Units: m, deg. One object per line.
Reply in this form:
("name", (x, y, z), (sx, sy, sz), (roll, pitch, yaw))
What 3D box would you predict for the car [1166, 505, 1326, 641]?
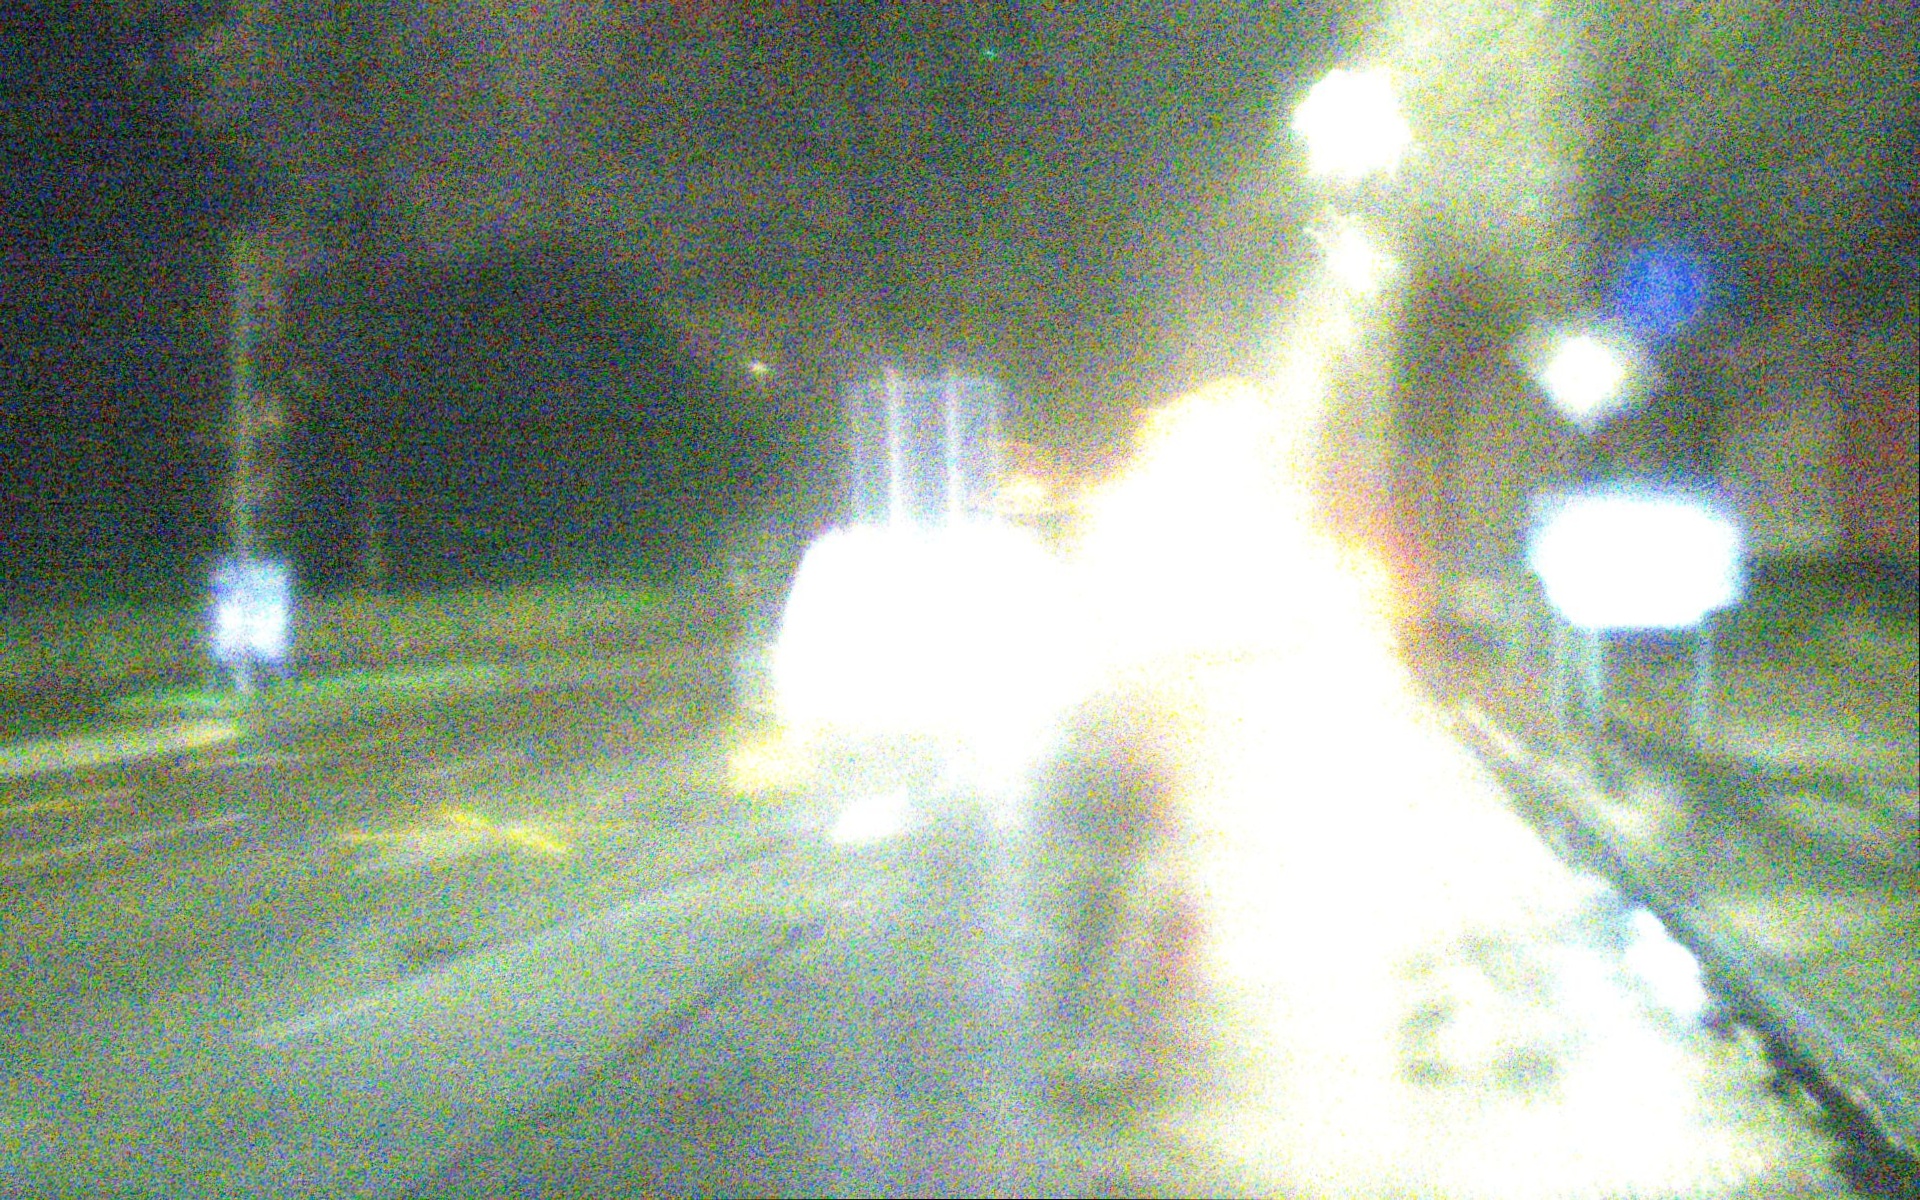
("car", (3.861, -0.395, 46.283), (1.994, 1.678, 3.999), (2, 1, 5))
